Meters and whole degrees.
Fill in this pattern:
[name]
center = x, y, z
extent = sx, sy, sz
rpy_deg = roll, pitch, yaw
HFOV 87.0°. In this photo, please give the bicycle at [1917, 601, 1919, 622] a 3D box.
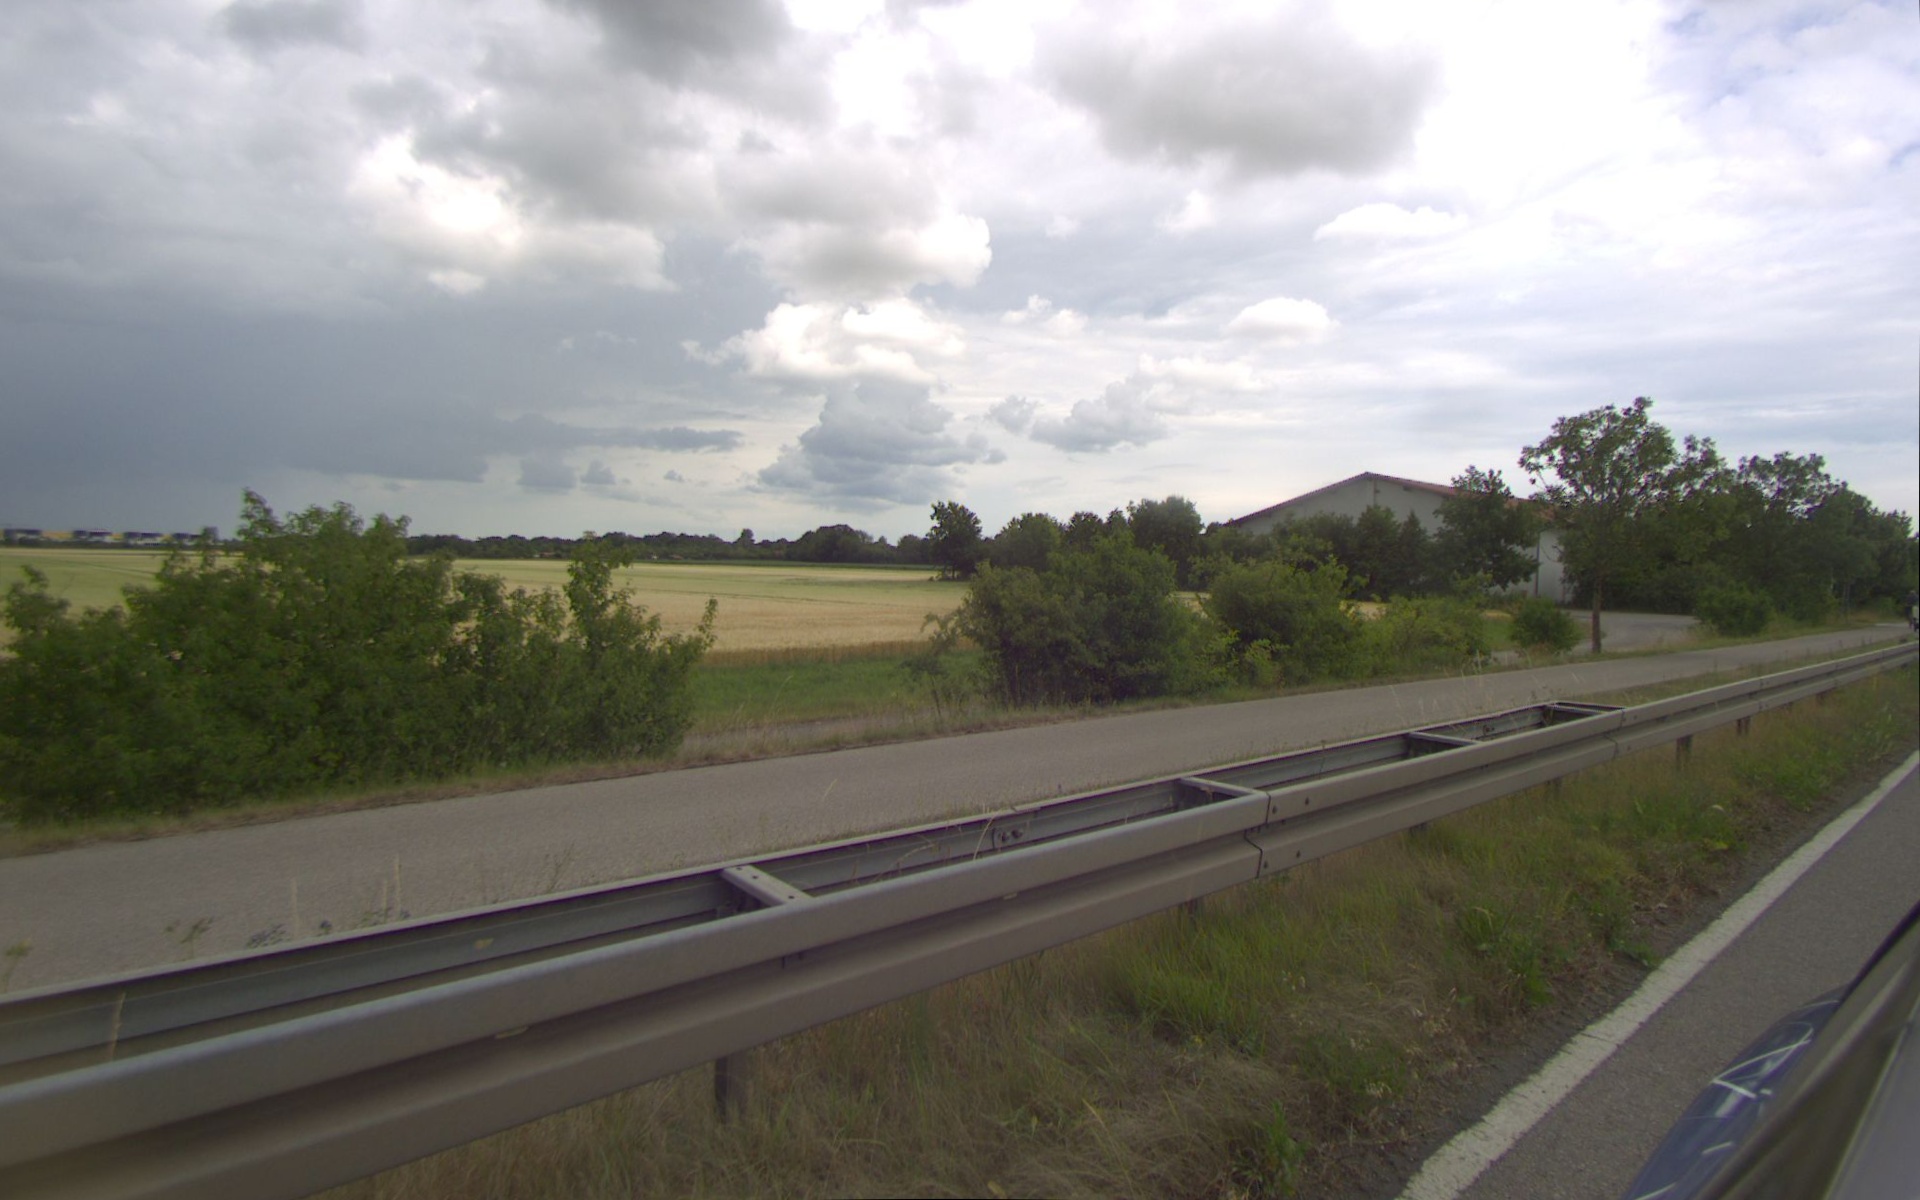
[bicycle]
center = 47.511, 0.551, 49.632
extent = 2.036, 0.990, 0.640
rpy_deg = 0, 2, -41
